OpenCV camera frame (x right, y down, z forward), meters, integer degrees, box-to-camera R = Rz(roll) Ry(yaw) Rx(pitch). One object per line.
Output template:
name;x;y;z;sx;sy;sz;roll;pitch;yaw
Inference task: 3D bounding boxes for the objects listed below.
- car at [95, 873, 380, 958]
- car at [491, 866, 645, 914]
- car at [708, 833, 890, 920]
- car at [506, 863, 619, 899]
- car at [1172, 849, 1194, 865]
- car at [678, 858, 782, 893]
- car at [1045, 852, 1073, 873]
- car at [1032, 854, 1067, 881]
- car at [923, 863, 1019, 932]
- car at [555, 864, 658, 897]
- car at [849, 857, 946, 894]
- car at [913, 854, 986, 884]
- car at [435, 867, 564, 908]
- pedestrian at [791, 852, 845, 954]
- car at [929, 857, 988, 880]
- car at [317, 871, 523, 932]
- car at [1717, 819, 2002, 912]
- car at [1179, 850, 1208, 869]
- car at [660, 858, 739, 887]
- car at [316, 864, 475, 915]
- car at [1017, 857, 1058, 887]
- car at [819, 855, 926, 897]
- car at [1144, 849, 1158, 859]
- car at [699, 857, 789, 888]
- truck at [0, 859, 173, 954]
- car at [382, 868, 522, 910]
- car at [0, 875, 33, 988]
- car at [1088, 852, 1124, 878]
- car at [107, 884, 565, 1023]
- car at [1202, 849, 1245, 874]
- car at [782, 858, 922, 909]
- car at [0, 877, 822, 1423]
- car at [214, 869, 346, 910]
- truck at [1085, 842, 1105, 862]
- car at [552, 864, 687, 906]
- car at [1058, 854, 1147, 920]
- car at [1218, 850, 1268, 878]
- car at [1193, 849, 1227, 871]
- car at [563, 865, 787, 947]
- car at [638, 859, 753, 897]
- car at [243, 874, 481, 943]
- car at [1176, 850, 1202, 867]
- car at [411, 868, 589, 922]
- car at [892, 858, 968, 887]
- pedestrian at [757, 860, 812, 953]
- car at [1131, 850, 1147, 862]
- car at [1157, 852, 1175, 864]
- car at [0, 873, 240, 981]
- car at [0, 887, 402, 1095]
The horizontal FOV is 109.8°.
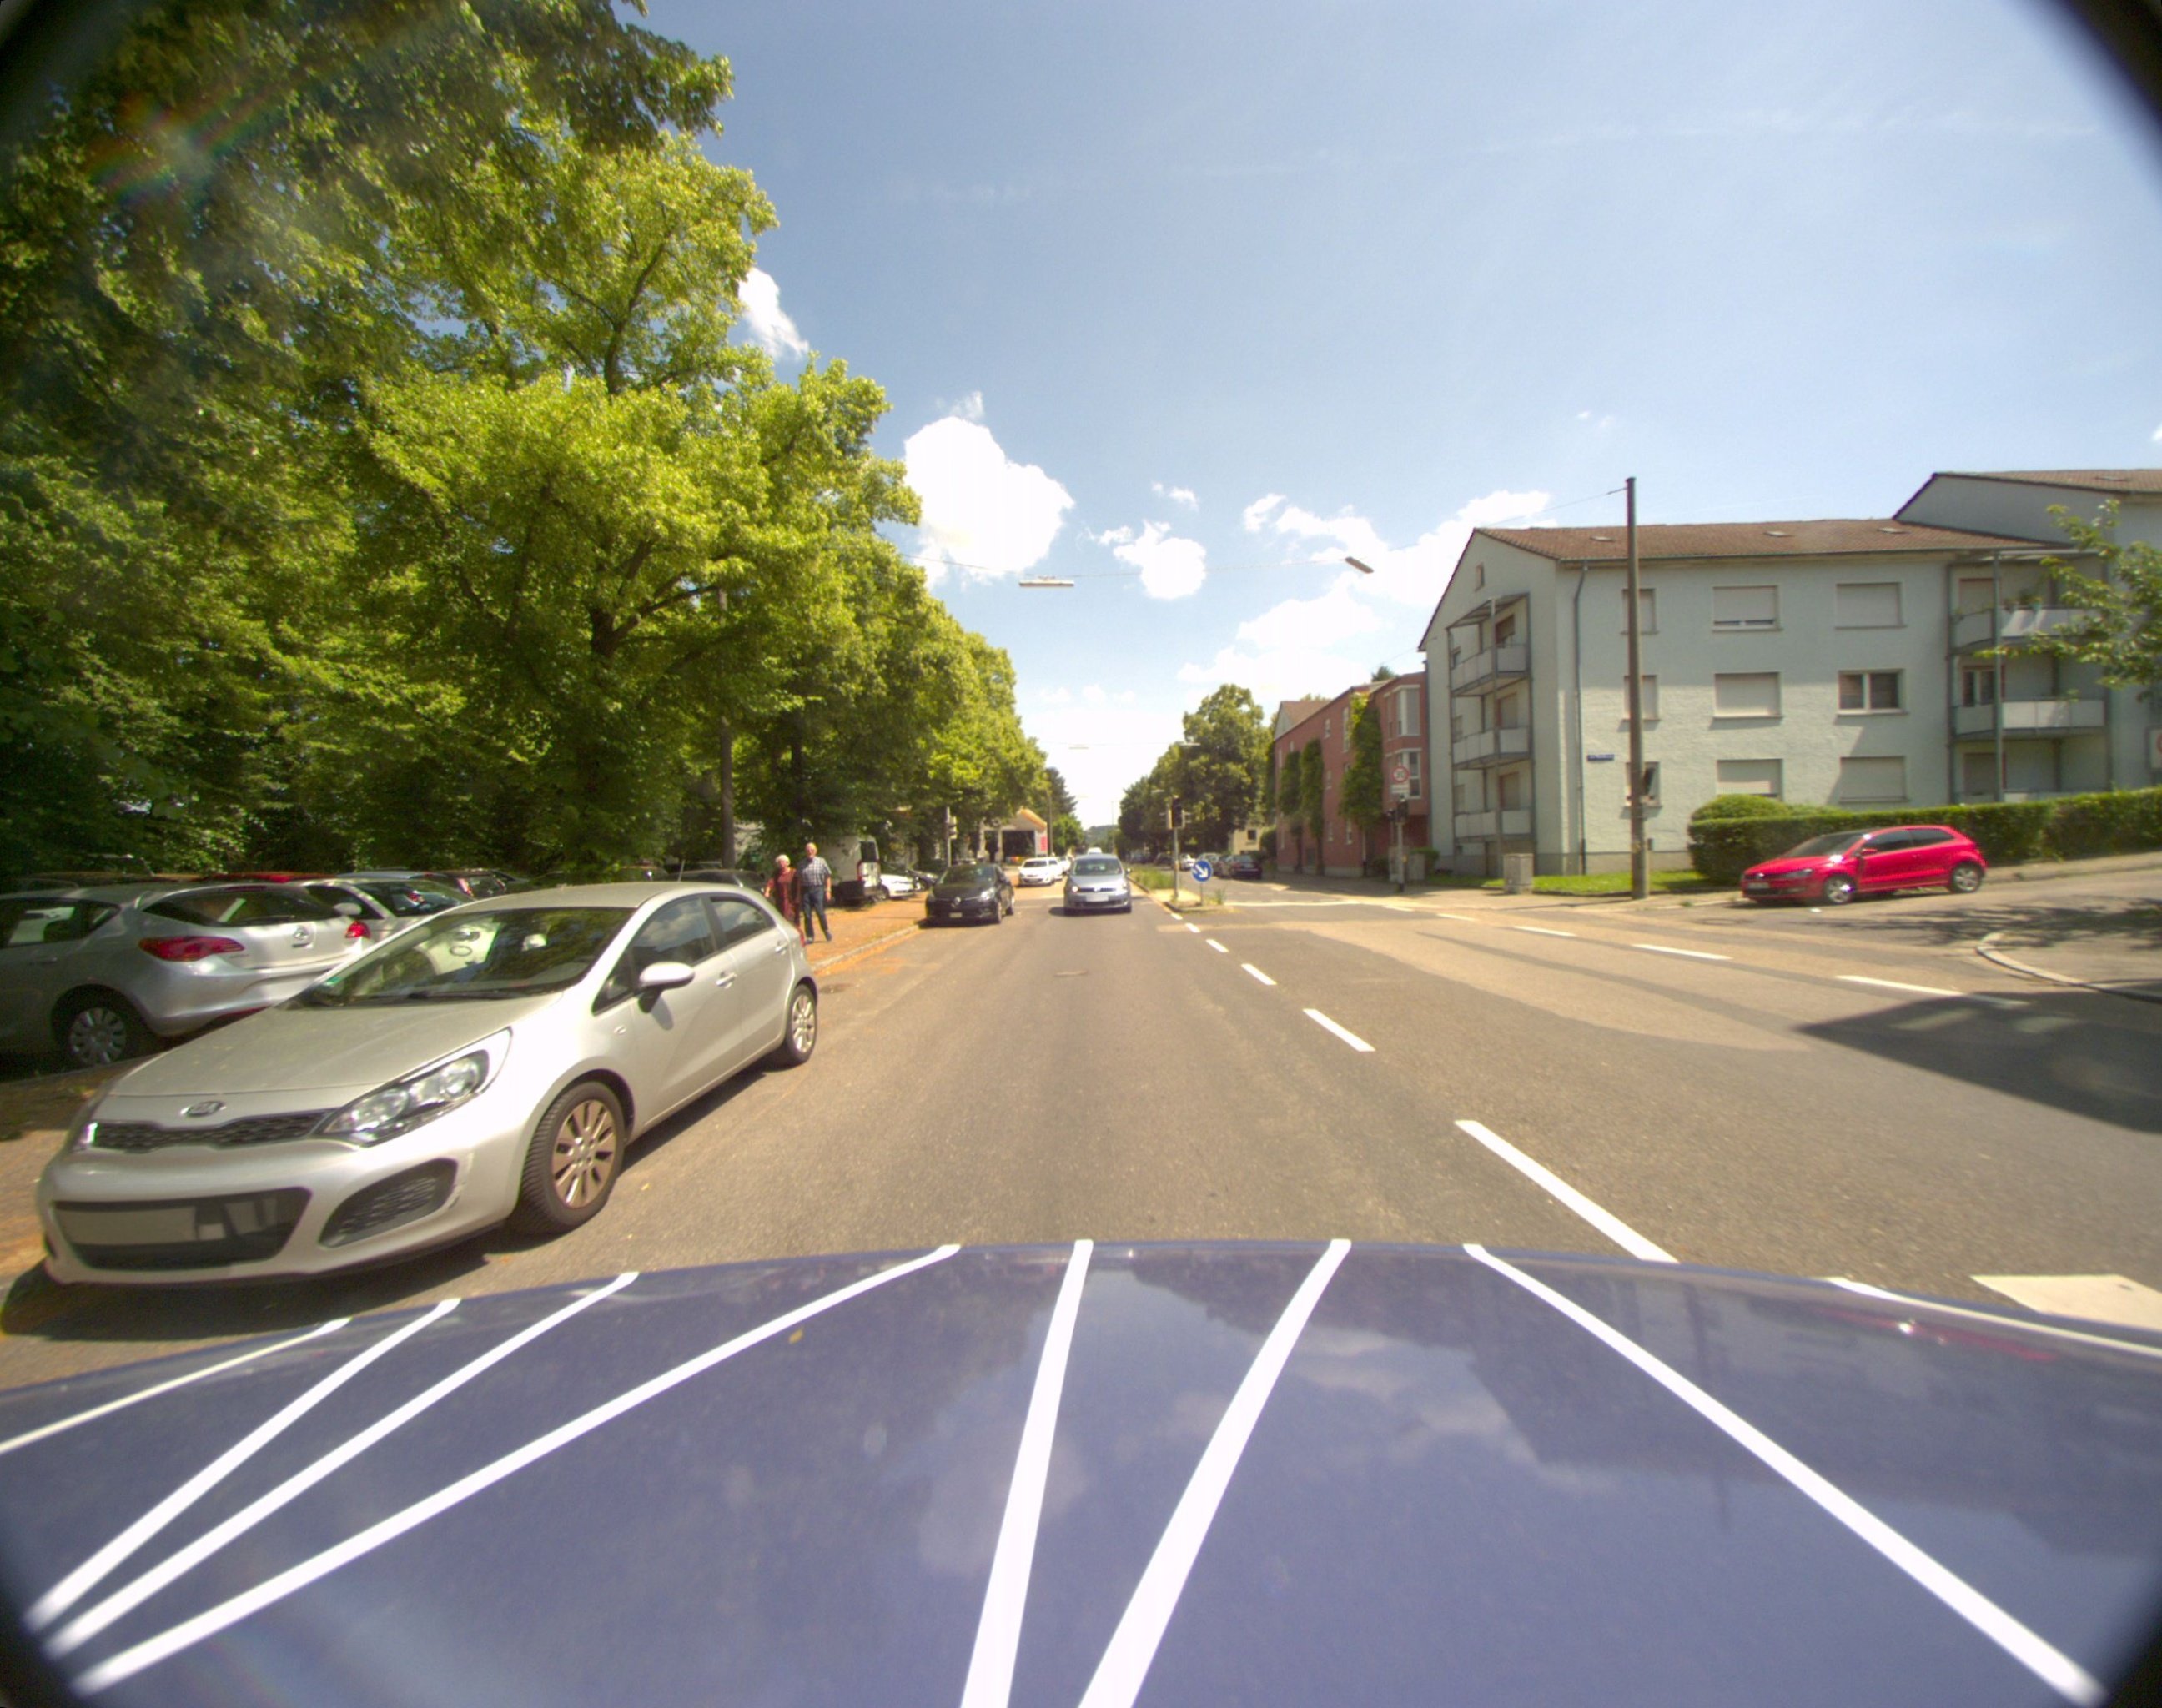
car;-17.414;1.238;15.833;3.996;1.577;1.804;-1;1;3
car;-17.334;1.201;25.811;3.996;1.464;1.804;-1;1;3
car;-8.487;0.666;23.194;4.614;2.263;2.106;-3;0;1
car;-22.779;1.181;33.445;3.806;1.456;1.738;-1;0;3
car;10.080;0.282;75.615;1.572;1.499;3.999;-3;0;-1
car;-17.284;1.040;37.545;4.265;1.578;1.818;-1;1;-6
car;-1.590;0.582;55.042;1.775;1.434;3.338;-2;0;1
car;-1.933;0.825;48.267;1.867;1.516;4.208;-2;0;1
car;-2.633;0.992;19.009;1.667;1.420;4.000;-2;0;1
car;-22.531;1.235;36.144;3.806;1.456;1.738;-1;0;3
car;-8.545;0.985;35.582;4.078;1.485;1.636;-2;1;-1
car;-7.662;0.872;44.339;3.763;1.526;1.631;-2;1;12
car;-22.968;1.302;30.088;3.806;1.483;1.738;-1;0;3
pedestrian;-4.693;0.850;13.581;0.618;1.754;0.737;-2;1;0
car;-8.473;0.986;52.738;3.762;1.518;1.853;-1;0;-3
car;-17.718;1.250;20.501;3.996;1.464;1.804;-1;1;3
car;15.841;0.234;15.614;3.997;1.443;1.733;-5;-1;-1
car;9.456;0.441;63.938;1.752;1.434;3.999;-3;0;-1
car;-22.646;1.071;45.243;3.808;1.616;1.737;-1;1;-3
car;-22.816;1.161;25.392;3.806;1.579;1.738;-1;1;3
car;-2.265;0.921;40.691;1.721;1.434;4.111;-3;0;2
car;-8.918;0.935;32.720;4.078;1.485;1.636;-3;1;-1
car;10.624;0.003;115.228;1.757;1.325;3.607;-3;0;-1
car;-17.699;0.970;40.056;3.956;1.513;1.737;-1;1;-4
truck;-21.968;1.064;15.755;4.130;1.804;1.879;-1;1;3
car;-23.135;1.269;28.030;3.806;1.456;1.738;-1;0;3
car;-17.729;1.171;10.506;3.997;1.631;1.680;-1;1;-1
car;1.566;0.669;49.392;1.868;1.516;4.290;-2;0;-4
car;-8.893;1.153;9.315;3.996;1.420;1.669;-1;1;2
car;9.486;0.465;50.884;1.891;1.531;4.567;-1;0;-1
car;-8.037;1.013;26.959;4.336;1.485;1.808;-4;0;-1
car;-3.064;0.981;4.260;1.771;1.476;3.890;-2;1;1
car;-33.191;1.451;31.549;3.806;1.558;1.738;-1;1;5
truck;1.670;-0.199;89.053;1.866;2.211;4.506;-2;0;6
car;-17.391;1.164;28.760;3.996;1.464;1.804;-1;1;3
car;0.695;0.804;20.430;1.745;1.513;4.226;-1;0;10
car;9.433;0.556;44.525;1.891;1.531;4.567;-1;0;-1
car;9.642;0.403;57.005;1.752;1.499;3.999;-3;0;-1
car;-8.950;1.122;16.958;3.996;1.464;1.717;-3;1;3
car;-17.482;1.075;34.602;4.263;1.578;1.818;-1;1;0
car;-17.046;1.265;18.144;3.996;1.464;1.804;-1;1;3
car;9.953;0.387;70.451;1.752;1.499;3.999;-3;0;-1
car;-17.372;1.215;22.840;3.996;1.464;1.804;-1;1;3
car;-8.042;0.963;40.701;3.848;1.350;1.628;-3;1;-8
pedestrian;-5.294;0.912;13.602;0.618;1.584;0.737;-2;1;0
car;7.677;0.287;100.370;1.752;1.499;3.999;-3;0;-1
car;10.407;0.493;93.391;1.757;1.325;3.607;-3;0;-1
car;-17.448;1.205;13.078;3.996;1.652;1.804;-1;1;3
car;-8.650;1.104;6.478;3.997;1.390;1.808;-3;1;-1
